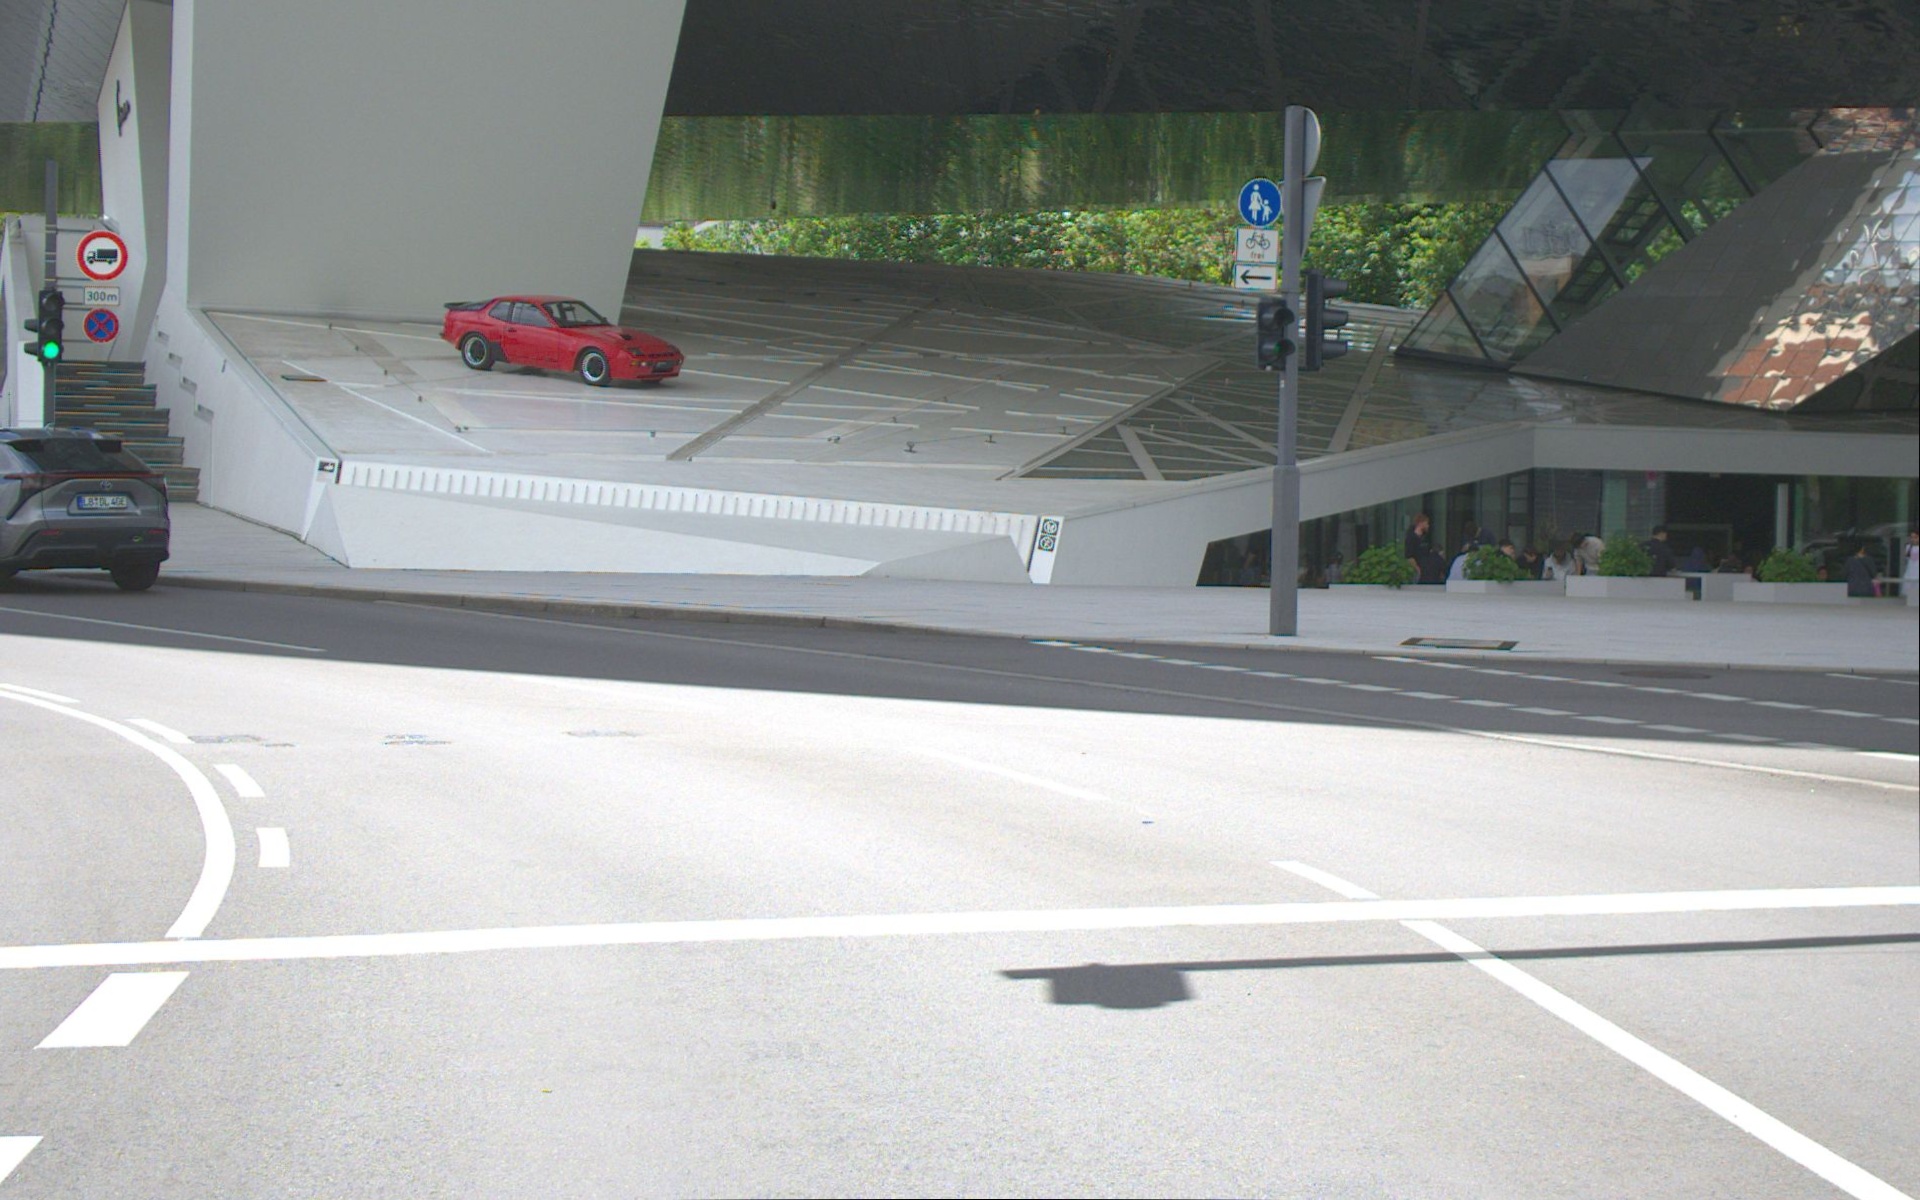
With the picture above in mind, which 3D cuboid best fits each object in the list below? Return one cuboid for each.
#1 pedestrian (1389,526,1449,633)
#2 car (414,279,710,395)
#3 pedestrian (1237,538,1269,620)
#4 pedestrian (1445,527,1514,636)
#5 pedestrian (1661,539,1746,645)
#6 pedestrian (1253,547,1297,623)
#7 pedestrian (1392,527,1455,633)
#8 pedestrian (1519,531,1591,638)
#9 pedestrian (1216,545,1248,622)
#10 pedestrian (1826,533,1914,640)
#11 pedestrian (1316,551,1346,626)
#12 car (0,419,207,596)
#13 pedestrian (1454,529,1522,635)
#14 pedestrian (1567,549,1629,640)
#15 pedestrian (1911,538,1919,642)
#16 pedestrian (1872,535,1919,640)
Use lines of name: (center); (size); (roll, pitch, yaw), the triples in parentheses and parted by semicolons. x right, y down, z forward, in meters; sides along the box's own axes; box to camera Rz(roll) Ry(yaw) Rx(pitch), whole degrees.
pedestrian: (6.856, -0.304, 51.384); (0.828, 1.567, 0.923); (2, 0, 8)
car: (-6.584, -4.375, 56.712); (4.506, 1.390, 1.997); (10, 9, 31)
pedestrian: (4.552, -0.326, 53.470); (0.394, 1.248, 0.400); (2, 0, -5)
pedestrian: (7.709, -0.271, 51.013); (0.921, 1.567, 0.830); (2, 0, 11)
pedestrian: (11.342, -0.125, 52.466); (0.827, 1.567, 0.923); (2, 0, -24)
pedestrian: (5.254, -0.246, 57.258); (0.561, 1.248, 0.473); (2, 0, 25)
pedestrian: (7.095, -0.305, 52.578); (0.828, 1.567, 0.923); (2, 0, 12)
pedestrian: (8.955, -0.232, 51.723); (0.795, 1.567, 0.692); (2, 0, 36)
pedestrian: (4.465, -0.268, 56.459); (0.394, 1.248, 0.562); (2, 0, -5)
pedestrian: (13.635, -0.207, 51.522); (0.827, 1.567, 0.923); (2, 0, -24)
pedestrian: (6.348, -0.196, 58.804); (0.472, 1.248, 0.561); (2, 0, 7)
car: (-9.531, -0.933, 34.519); (1.994, 1.631, 3.998); (2, 1, -44)
pedestrian: (8.019, -0.268, 52.169); (0.921, 1.567, 0.830); (2, 0, 11)
pedestrian: (9.507, -0.081, 51.198); (0.644, 1.314, 0.692); (2, 0, 33)
pedestrian: (14.908, -0.135, 51.499); (0.827, 1.567, 0.923); (2, 0, -24)
pedestrian: (14.546, -0.184, 52.366); (0.827, 1.567, 0.923); (2, 0, -24)
